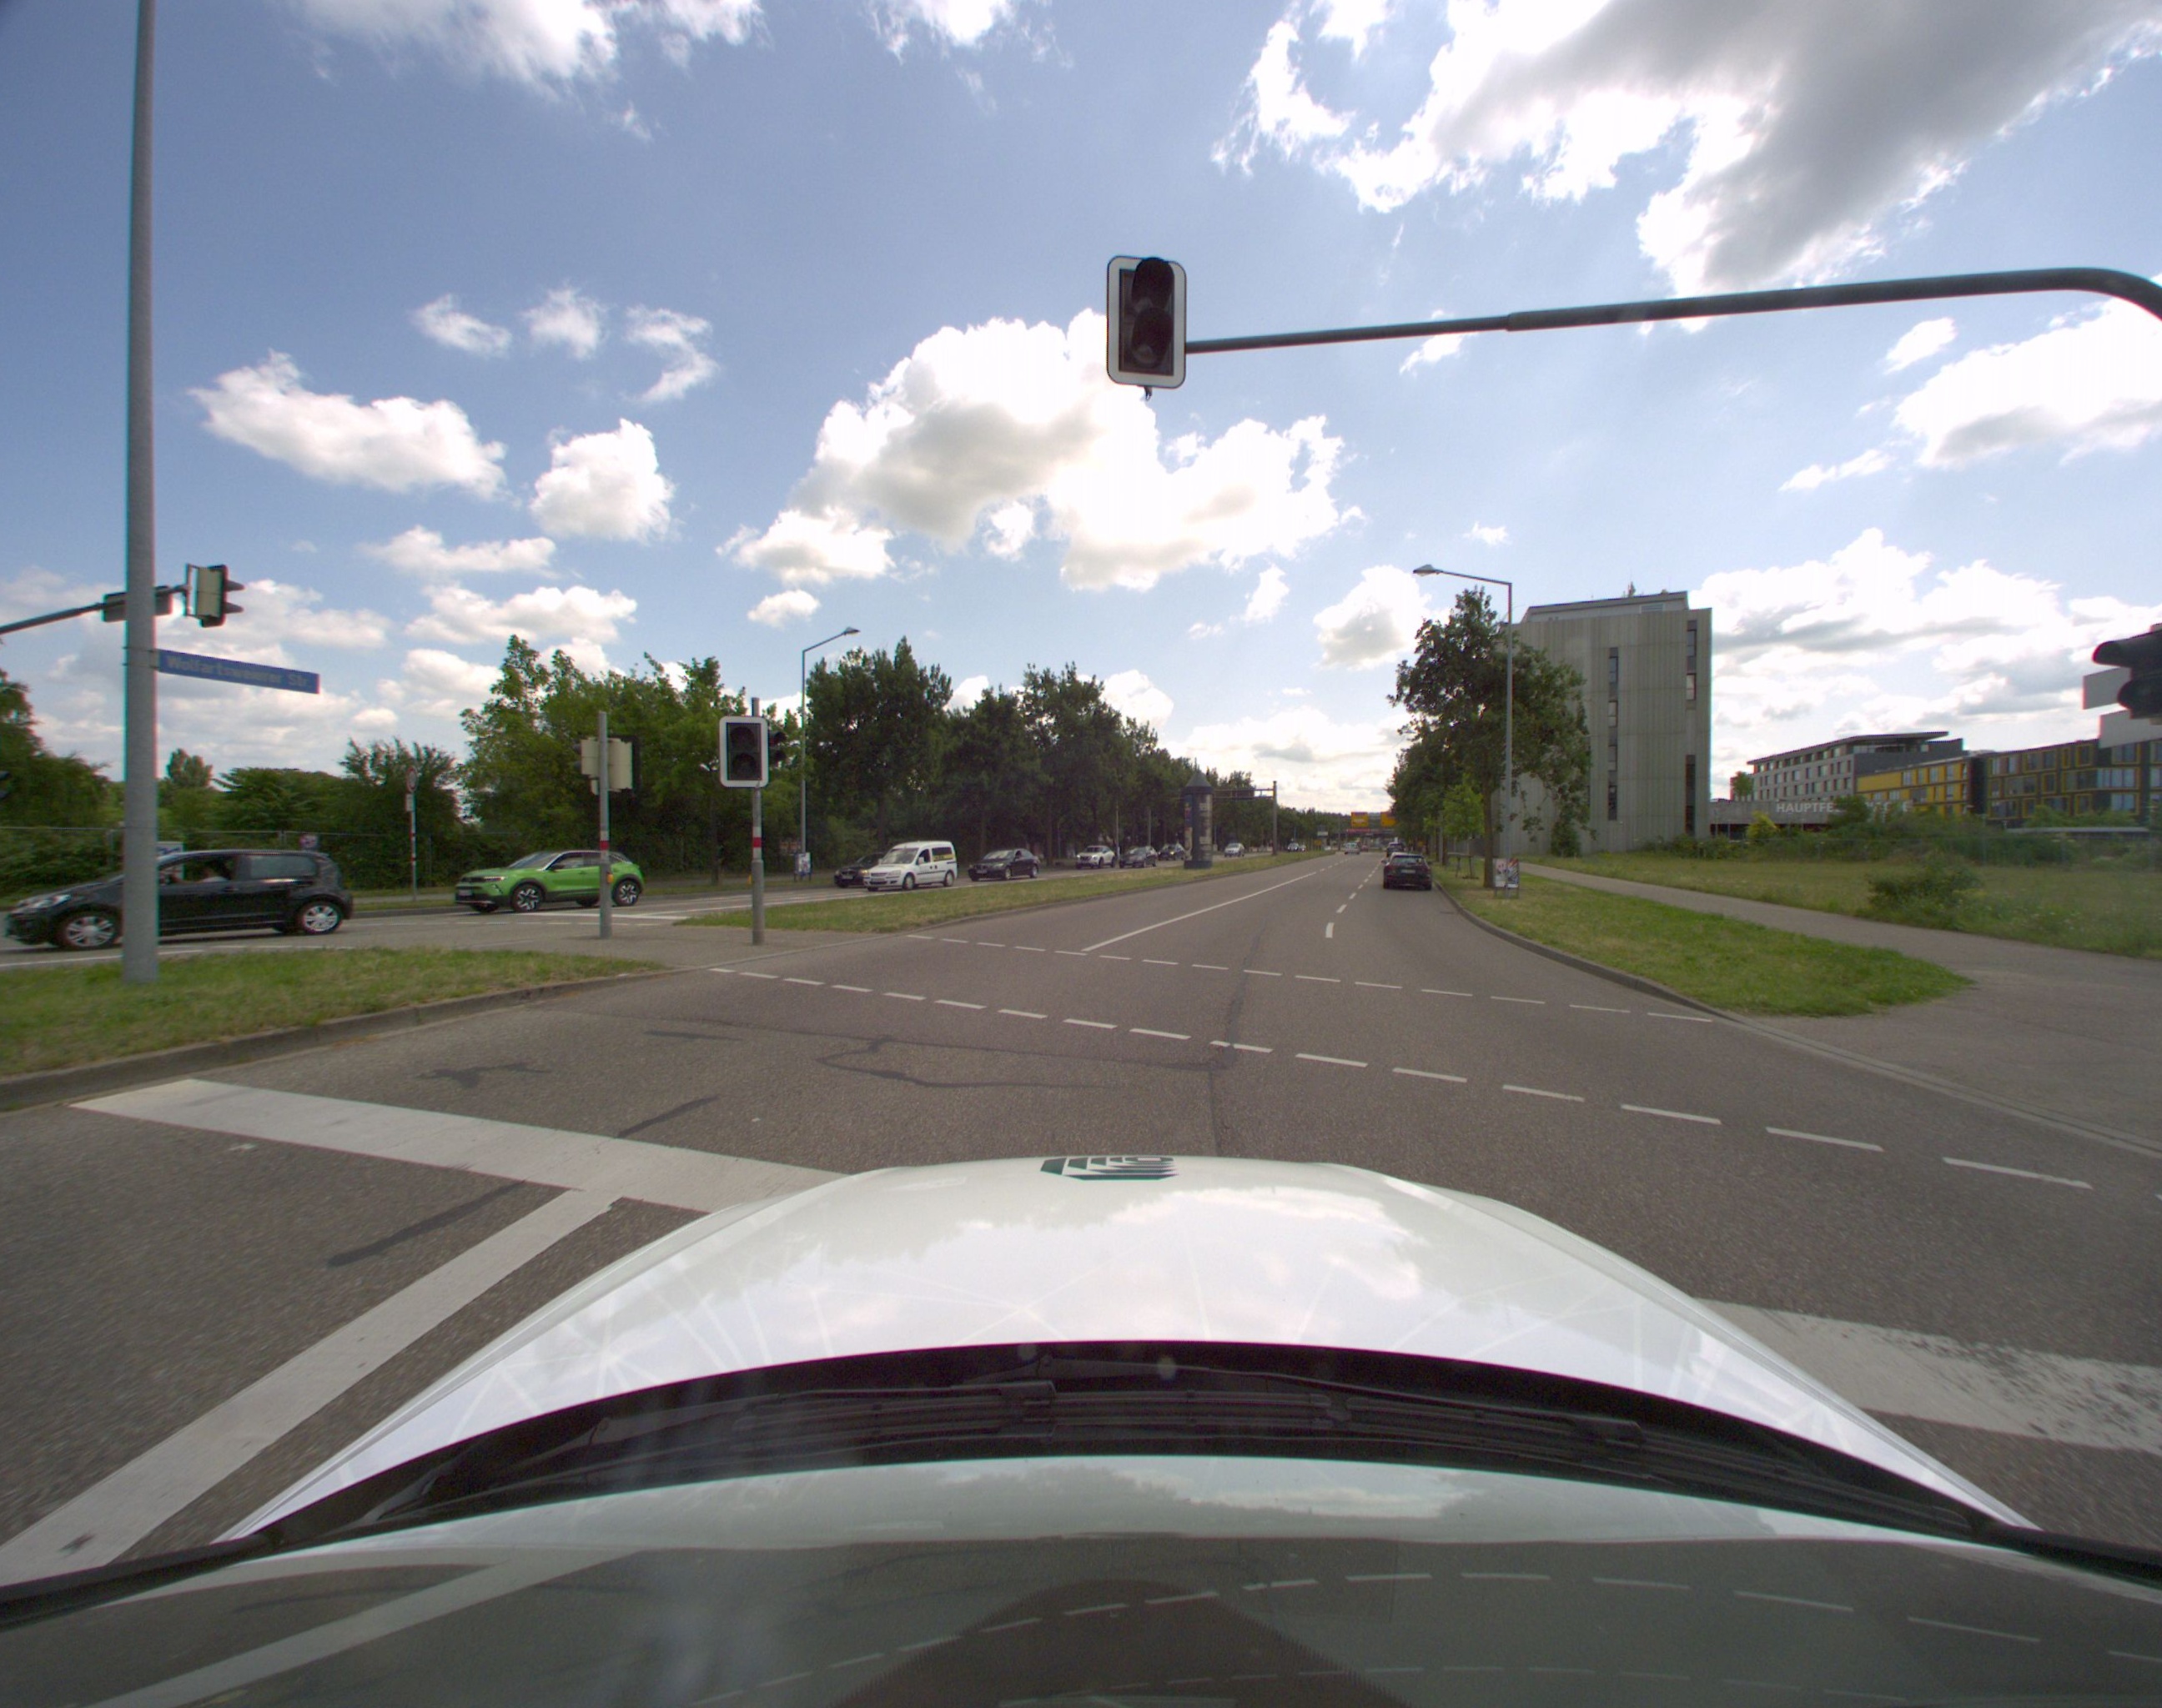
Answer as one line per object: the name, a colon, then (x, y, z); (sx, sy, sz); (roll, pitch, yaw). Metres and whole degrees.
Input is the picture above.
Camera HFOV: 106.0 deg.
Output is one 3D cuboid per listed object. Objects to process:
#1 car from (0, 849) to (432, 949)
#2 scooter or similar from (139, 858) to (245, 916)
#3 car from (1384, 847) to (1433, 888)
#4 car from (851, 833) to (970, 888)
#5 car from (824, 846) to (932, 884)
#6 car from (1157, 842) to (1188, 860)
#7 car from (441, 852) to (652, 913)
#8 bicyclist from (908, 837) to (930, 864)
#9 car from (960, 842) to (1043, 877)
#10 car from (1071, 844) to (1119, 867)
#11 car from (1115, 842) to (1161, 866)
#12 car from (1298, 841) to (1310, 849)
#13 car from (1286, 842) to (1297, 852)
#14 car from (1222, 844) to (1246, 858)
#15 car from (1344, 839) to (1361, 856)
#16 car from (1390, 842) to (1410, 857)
car: (-13.941, 0.607, 13.350); (1.820, 1.310, 4.818); (-1, 0, 32)
scooter or similar: (-19.218, 0.684, 17.635); (0.535, 1.166, 1.449); (1, 1, 25)
car: (13.022, 0.493, 32.568); (1.670, 1.463, 4.020); (2, 1, 20)
car: (-6.107, 0.214, 29.804); (1.822, 1.799, 4.813); (-1, 0, 22)
car: (-8.139, 0.416, 33.147); (1.821, 1.443, 4.445); (-1, 0, 25)
car: (8.610, -0.321, 76.289); (1.748, 1.577, 5.057); (0, 1, 21)
car: (-13.190, 0.649, 20.414); (1.601, 1.348, 4.194); (-1, 0, 24)
bicyclist: (-9.509, -0.196, 47.770); (0.823, 1.564, 0.888); (3, 1, 21)
car: (-3.582, 0.245, 37.715); (1.822, 1.480, 4.778); (-1, 0, 21)
car: (1.000, 0.084, 56.016); (1.893, 1.540, 4.391); (0, 1, 21)
car: (3.987, -0.023, 55.765); (1.707, 1.591, 5.039); (0, 1, 21)
car: (44.184, -1.884, 161.589); (1.726, 1.545, 4.598); (-1, 1, 22)
car: (36.479, -1.231, 141.189); (1.728, 1.569, 4.294); (-1, 0, 16)
car: (16.492, -0.338, 87.718); (1.748, 1.440, 4.332); (0, 1, 21)
car: (35.065, -0.835, 105.070); (1.977, 2.013, 4.019); (2, 1, 19)
car: (35.290, -0.554, 90.016); (1.976, 1.626, 4.332); (1, 1, 21)
